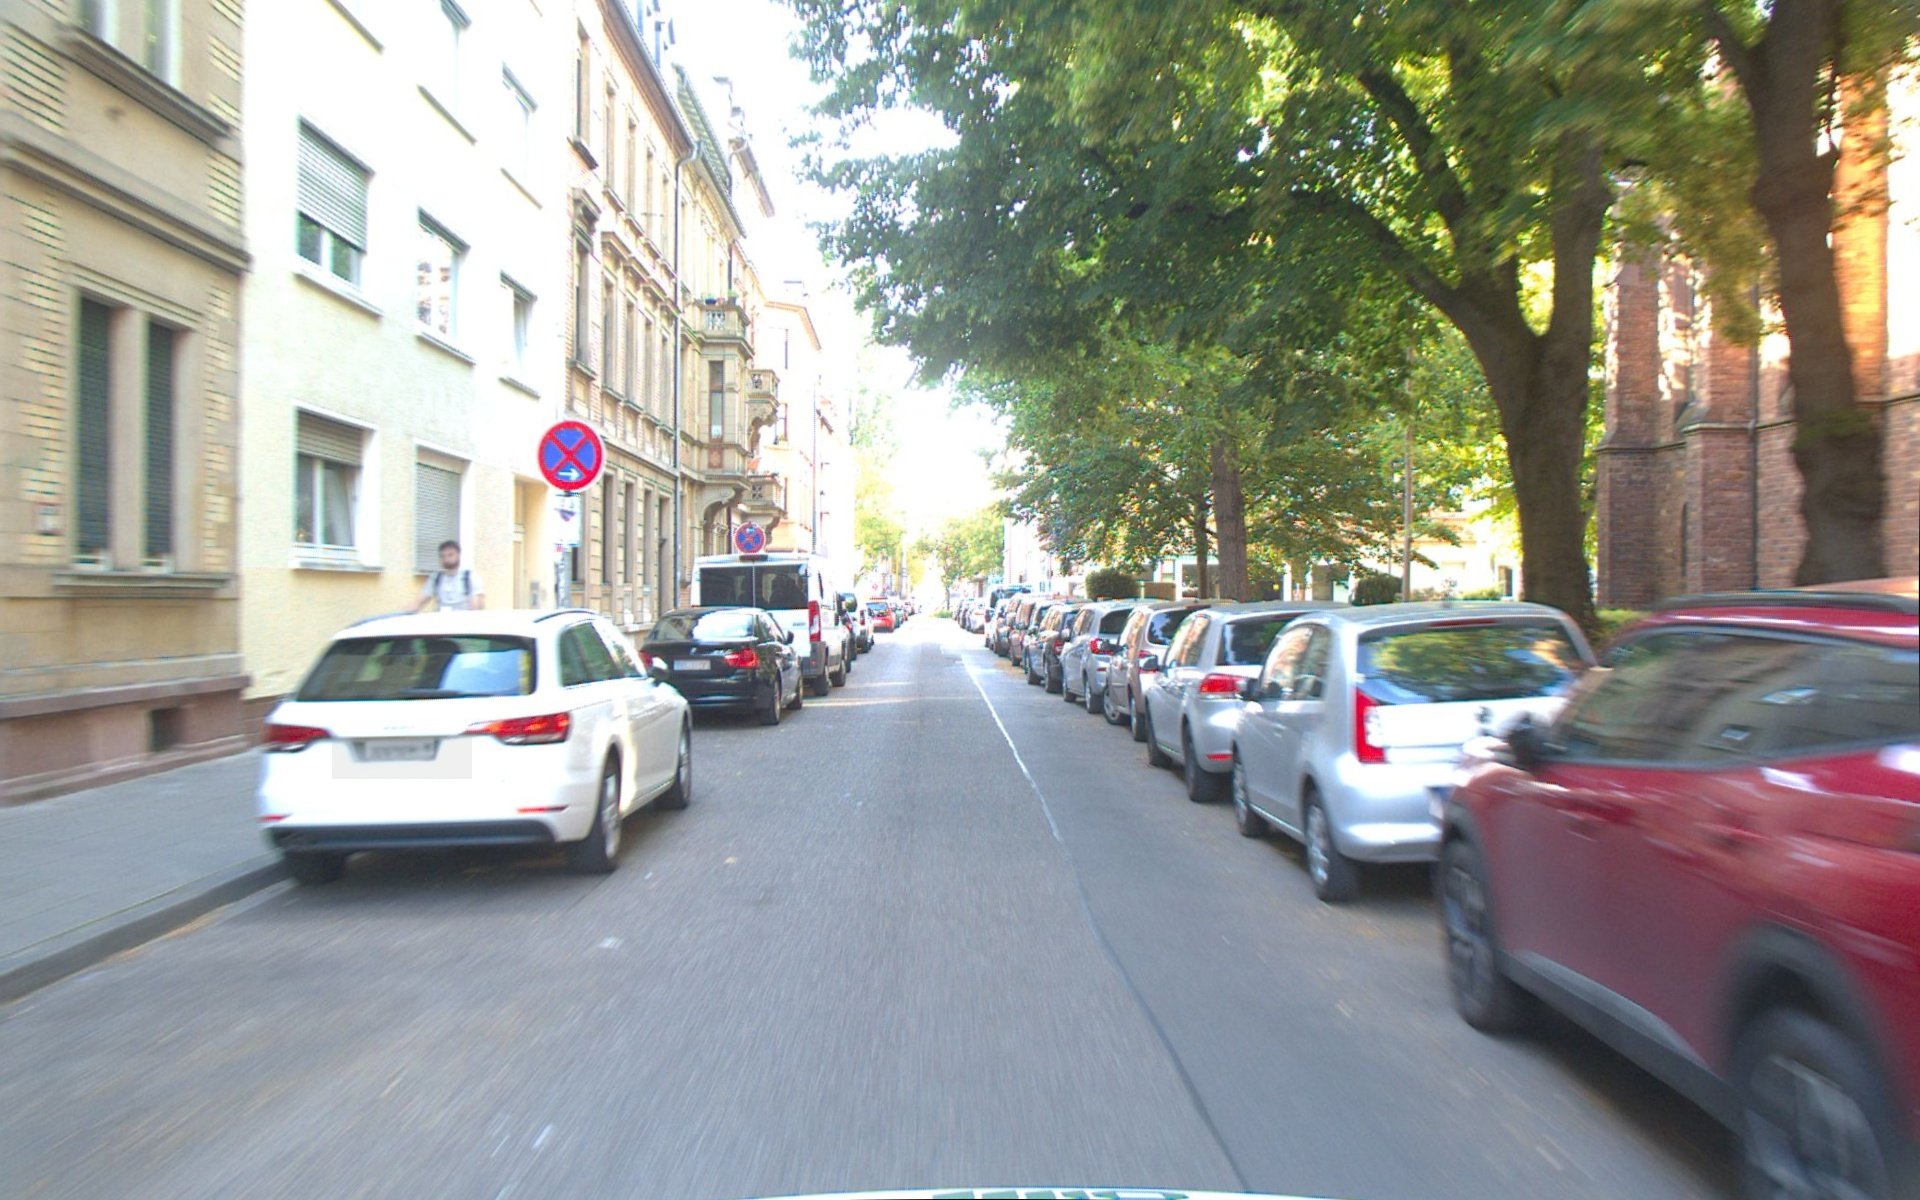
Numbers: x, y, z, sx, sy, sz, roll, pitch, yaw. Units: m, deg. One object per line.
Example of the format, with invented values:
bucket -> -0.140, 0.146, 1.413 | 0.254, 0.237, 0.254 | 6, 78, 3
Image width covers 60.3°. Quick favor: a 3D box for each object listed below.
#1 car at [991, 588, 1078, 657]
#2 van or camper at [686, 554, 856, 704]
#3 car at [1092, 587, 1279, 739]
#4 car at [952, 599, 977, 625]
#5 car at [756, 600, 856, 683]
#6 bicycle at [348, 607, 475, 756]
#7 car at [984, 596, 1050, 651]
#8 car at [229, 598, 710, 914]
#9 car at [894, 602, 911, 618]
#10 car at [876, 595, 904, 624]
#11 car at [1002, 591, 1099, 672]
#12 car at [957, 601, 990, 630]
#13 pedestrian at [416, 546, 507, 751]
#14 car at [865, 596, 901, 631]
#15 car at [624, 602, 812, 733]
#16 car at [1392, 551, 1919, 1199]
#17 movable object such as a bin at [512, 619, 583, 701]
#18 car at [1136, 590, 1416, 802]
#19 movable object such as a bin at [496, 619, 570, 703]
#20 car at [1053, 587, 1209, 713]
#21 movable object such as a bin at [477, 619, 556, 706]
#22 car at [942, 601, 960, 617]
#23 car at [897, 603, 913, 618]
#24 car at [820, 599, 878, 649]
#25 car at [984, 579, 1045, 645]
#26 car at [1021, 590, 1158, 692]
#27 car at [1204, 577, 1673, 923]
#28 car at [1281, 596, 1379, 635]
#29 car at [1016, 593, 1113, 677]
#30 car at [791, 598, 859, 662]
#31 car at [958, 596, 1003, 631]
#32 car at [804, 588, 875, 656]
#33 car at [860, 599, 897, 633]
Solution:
car -> 1.950, 0.618, 44.595 | 1.706, 1.631, 4.259 | -4, -1, -5
van or camper -> -3.007, 0.427, 27.479 | 2.132, 2.185, 5.154 | -2, 0, 0
car -> 2.544, 0.684, 19.389 | 1.567, 1.493, 3.563 | -5, -1, -1
car -> 0.329, 0.847, 114.229 | 1.641, 1.711, 4.094 | -2, -1, 0
car -> -3.071, 0.789, 33.780 | 1.731, 1.540, 4.192 | -2, 0, -2
bicycle -> -5.089, 0.721, 15.456 | 0.559, 1.265, 1.844 | 3, 0, -2
car -> 1.673, 0.690, 49.626 | 1.684, 1.598, 3.826 | 0, 0, -3
car -> -2.737, 0.758, 10.343 | 1.696, 1.481, 4.520 | -2, 0, -1
car -> -5.771, 1.020, 166.034 | 1.642, 1.513, 4.093 | -2, 0, -2
car -> -4.711, 0.624, 111.797 | 1.729, 1.816, 4.038 | -2, 0, -2
car -> 2.026, 0.716, 38.119 | 1.588, 1.653, 3.859 | -4, -1, -5
car -> 0.727, 0.853, 92.193 | 1.642, 1.533, 3.936 | -2, 0, -2
pedestrian -> -4.655, 0.436, 15.492 | 0.478, 1.834, 1.114 | 2, 0, -2
car -> -4.273, 0.743, 92.642 | 1.707, 1.842, 4.672 | -2, 0, 1
car -> -2.966, 0.779, 21.109 | 1.695, 1.426, 4.315 | -2, 0, 0
car -> 2.597, 0.691, 4.656 | 1.630, 1.613, 4.100 | -5, -1, 1
movable object such as a bin -> -5.715, 0.826, 22.954 | 0.783, 1.107, 0.666 | 0, -1, 3
car -> 2.536, 0.728, 14.111 | 1.566, 1.496, 3.868 | -2, -1, -1
movable object such as a bin -> -5.722, 0.813, 22.210 | 0.783, 1.107, 0.666 | 0, -1, 3
car -> 2.368, 0.683, 23.657 | 1.568, 1.531, 3.625 | -4, -1, -3
movable object such as a bin -> -5.750, 0.810, 21.479 | 0.819, 1.107, 0.675 | 0, -1, 2
car -> -0.924, 0.876, 167.511 | 1.642, 1.513, 3.636 | -2, 0, -2
car -> -5.654, 1.050, 171.111 | 1.642, 1.513, 4.093 | -2, 0, -2
car -> -3.574, 0.761, 53.772 | 1.658, 1.507, 3.972 | -2, 0, -2
car -> 1.781, 0.389, 54.929 | 1.875, 2.033, 4.792 | -2, 0, 1
car -> 2.124, 0.676, 28.341 | 1.642, 1.466, 4.692 | -4, -1, -3
car -> 2.573, 0.737, 9.807 | 1.567, 1.531, 3.719 | -5, -1, -1
car -> 15.258, 0.655, 68.320 | 3.773, 1.499, 1.634 | 1, -2, 6
car -> 2.100, 0.698, 34.143 | 1.586, 1.512, 3.775 | -5, -1, -1
car -> -3.512, 0.753, 43.504 | 1.659, 1.540, 3.970 | -2, 0, -4
car -> 0.923, 0.617, 77.112 | 1.709, 1.533, 4.354 | -2, 0, -4
car -> -3.471, 0.605, 48.338 | 1.794, 1.843, 4.571 | -2, 0, -1
car -> -3.796, 0.733, 77.538 | 1.595, 1.507, 3.600 | -2, 0, -2
